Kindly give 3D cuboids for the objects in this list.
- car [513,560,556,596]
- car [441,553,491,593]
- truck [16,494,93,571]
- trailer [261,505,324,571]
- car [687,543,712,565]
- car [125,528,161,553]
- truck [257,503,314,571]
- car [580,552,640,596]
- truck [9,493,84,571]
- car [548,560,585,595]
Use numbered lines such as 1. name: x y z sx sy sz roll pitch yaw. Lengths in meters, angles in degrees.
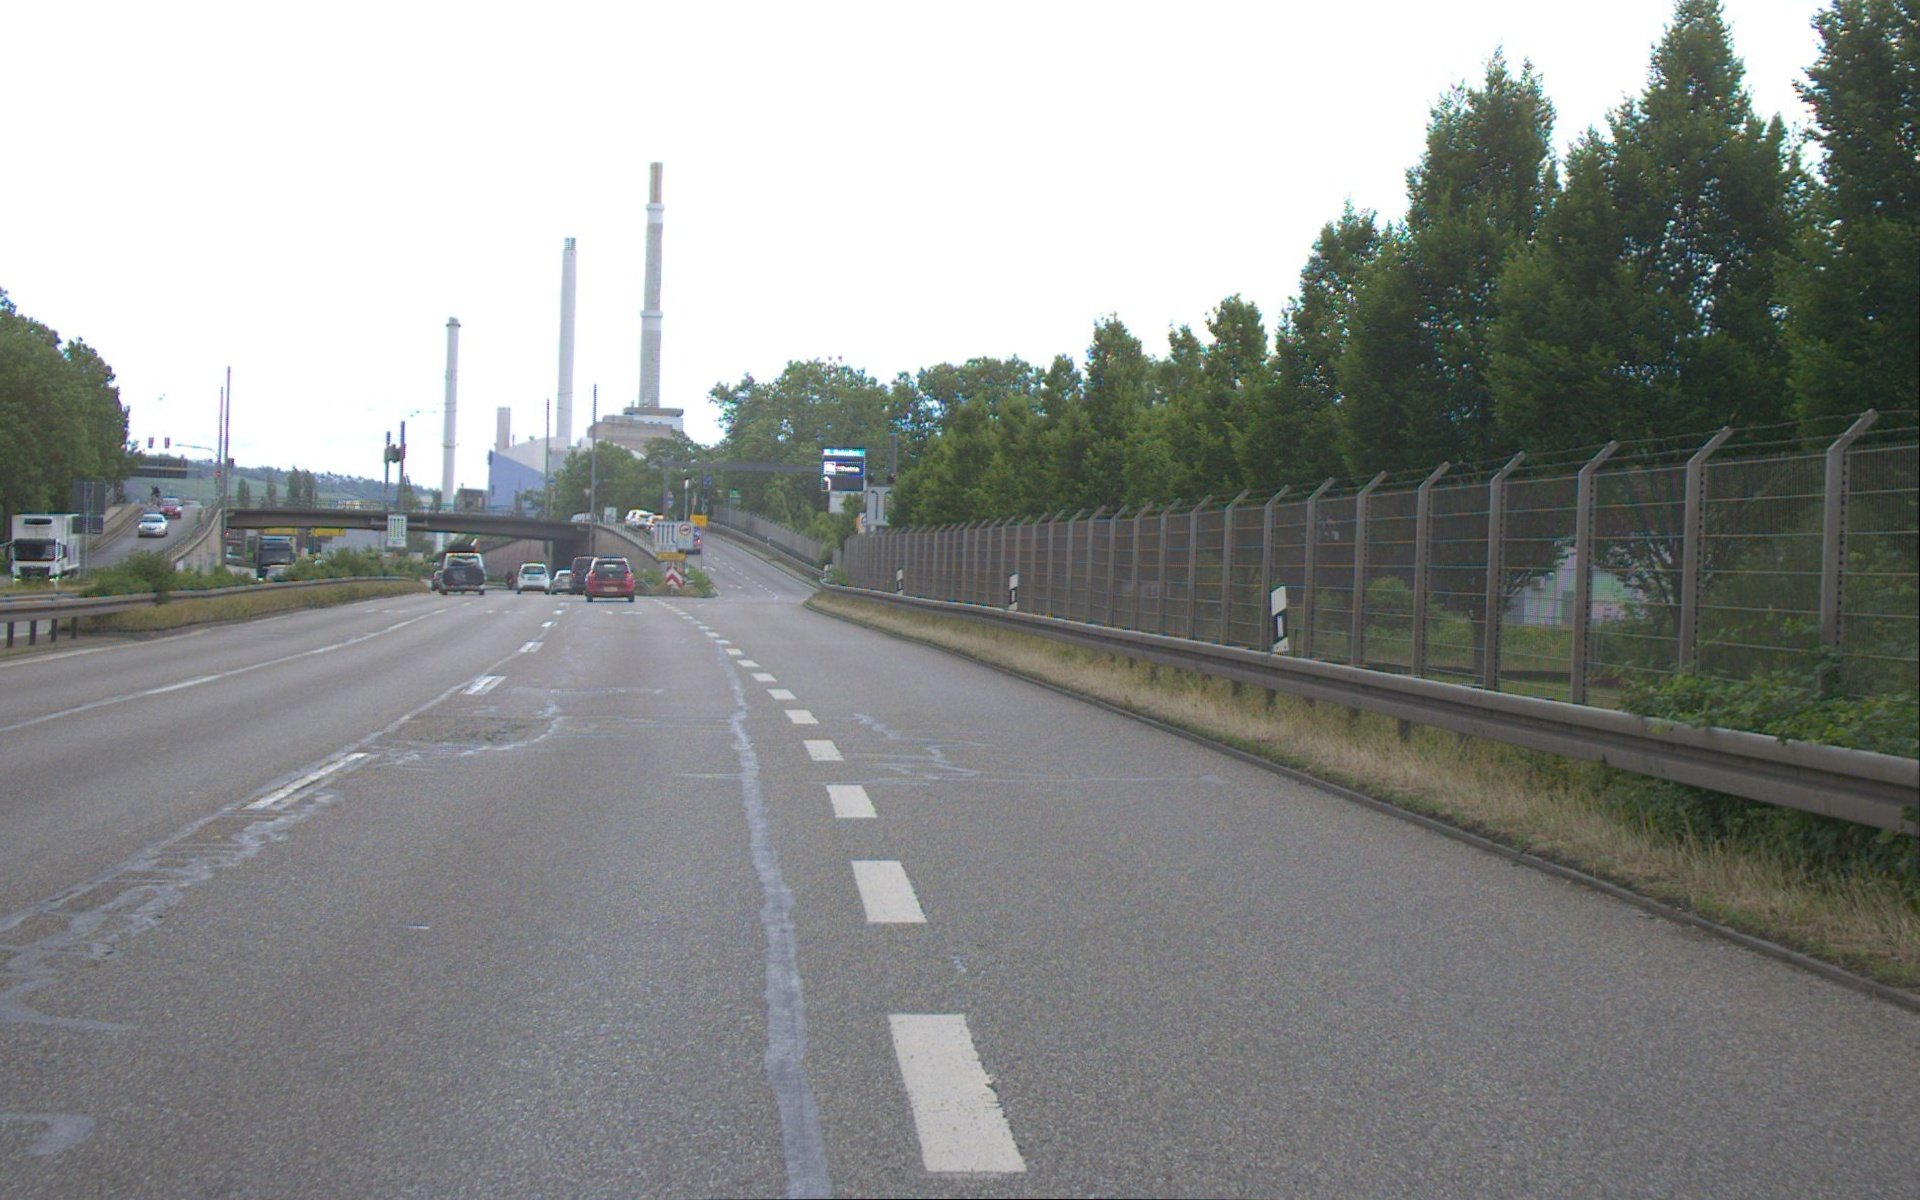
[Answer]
1. car: -21.295 -1.128 172.157 1.993 1.678 4.001 2 1 -6
2. car: -21.858 -1.204 152.179 1.993 1.678 4.001 2 1 -6
3. truck: -45.294 -3.348 172.145 2.982 3.631 6.339 3 0 -9
4. trailer: -49.556 -4.540 255.696 3.462 4.657 14.785 2 0 -7
5. car: -18.851 -3.332 249.065 1.749 1.575 4.085 0 1 -4
6. car: -56.479 -4.096 237.749 1.993 1.638 4.605 3 0 -9
7. truck: -48.588 -4.498 247.779 3.462 4.657 6.212 2 0 -7
8. car: -12.293 -0.916 120.996 1.993 1.415 4.001 2 1 -5
9. truck: -44.653 -3.322 168.209 2.983 3.630 4.001 3 0 -9
10. car: -24.128 -1.403 210.661 1.917 2.007 4.001 2 1 -11
